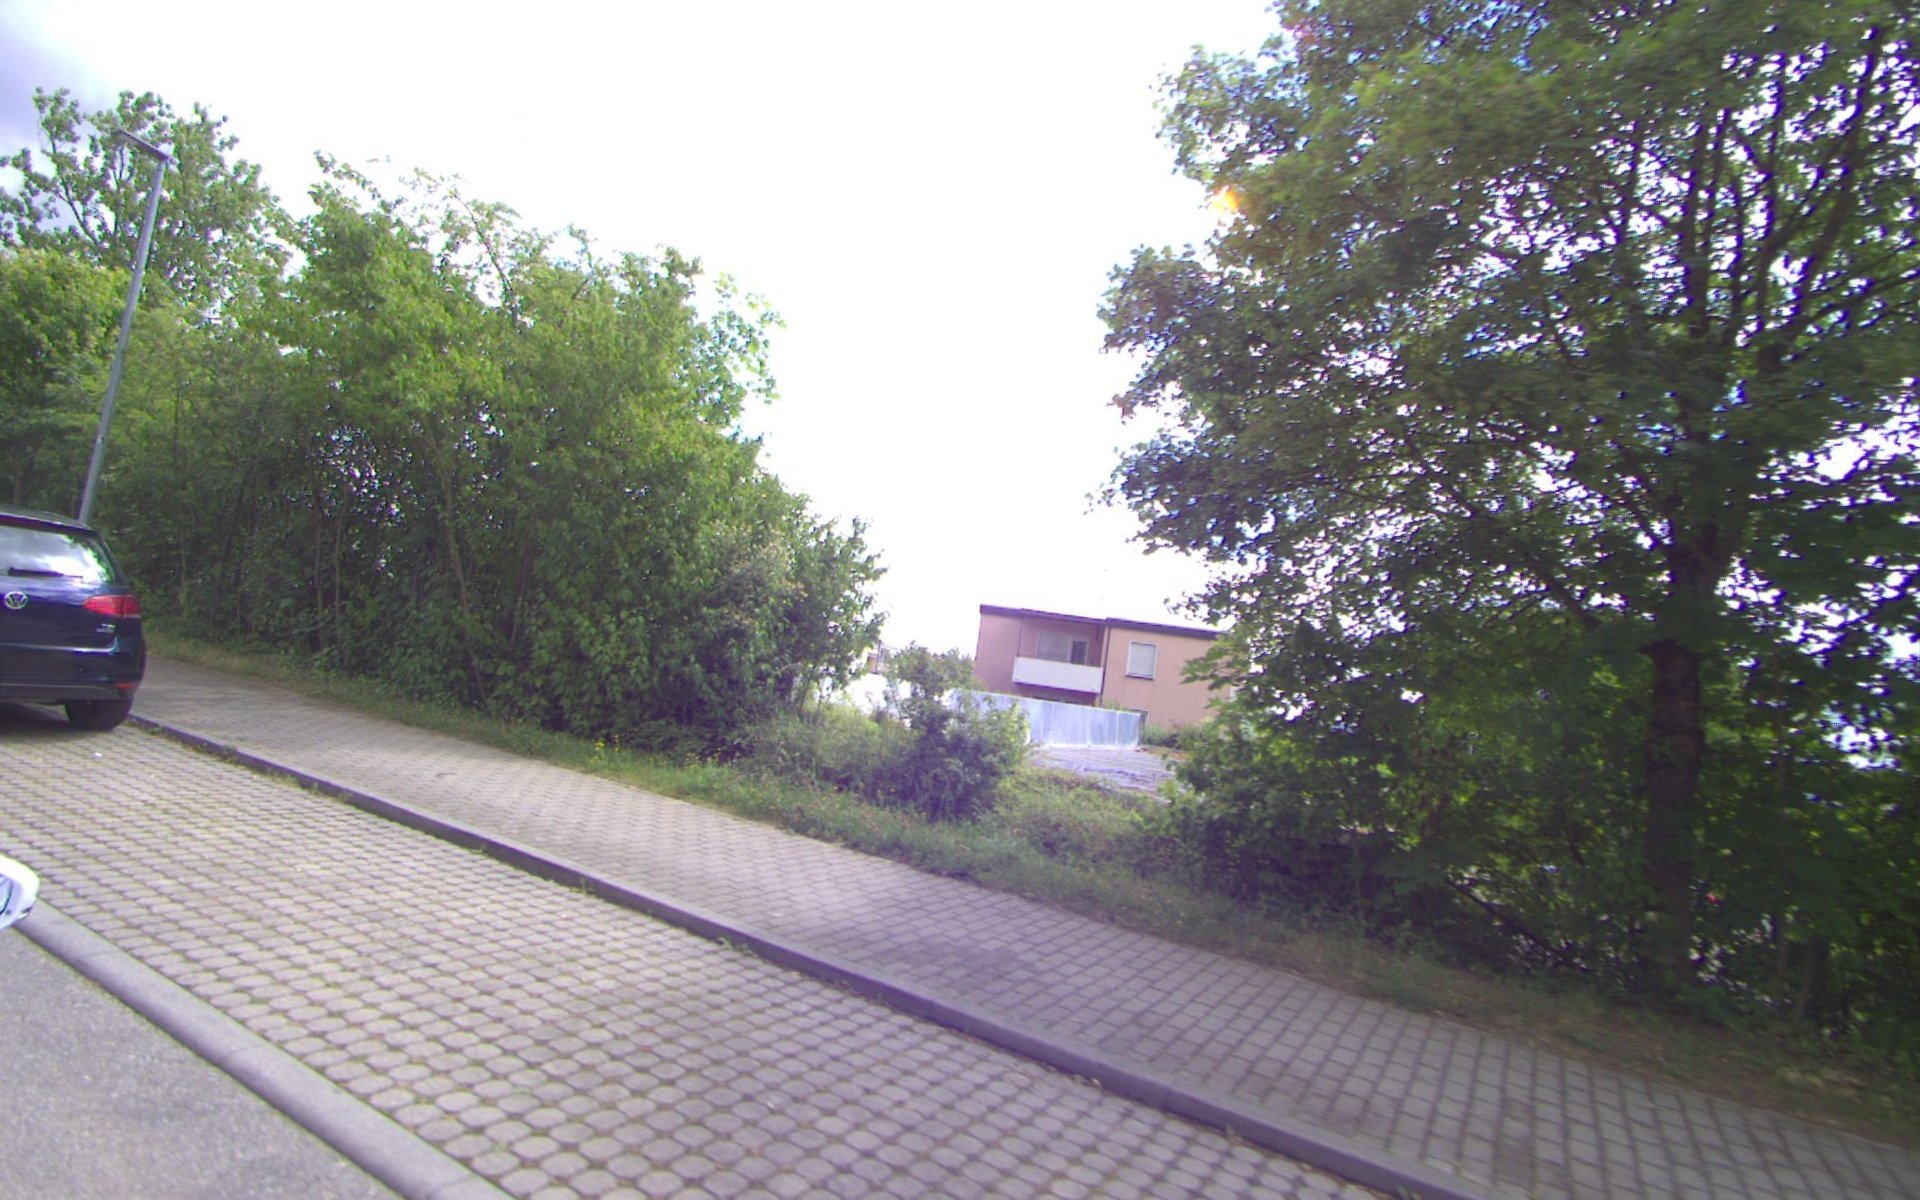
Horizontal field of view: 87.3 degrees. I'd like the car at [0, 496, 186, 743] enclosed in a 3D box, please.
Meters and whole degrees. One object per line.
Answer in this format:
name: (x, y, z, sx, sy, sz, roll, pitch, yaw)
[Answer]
car: (-7.668, -0.104, 7.070, 4.402, 1.466, 1.688, 7, -3, 27)
